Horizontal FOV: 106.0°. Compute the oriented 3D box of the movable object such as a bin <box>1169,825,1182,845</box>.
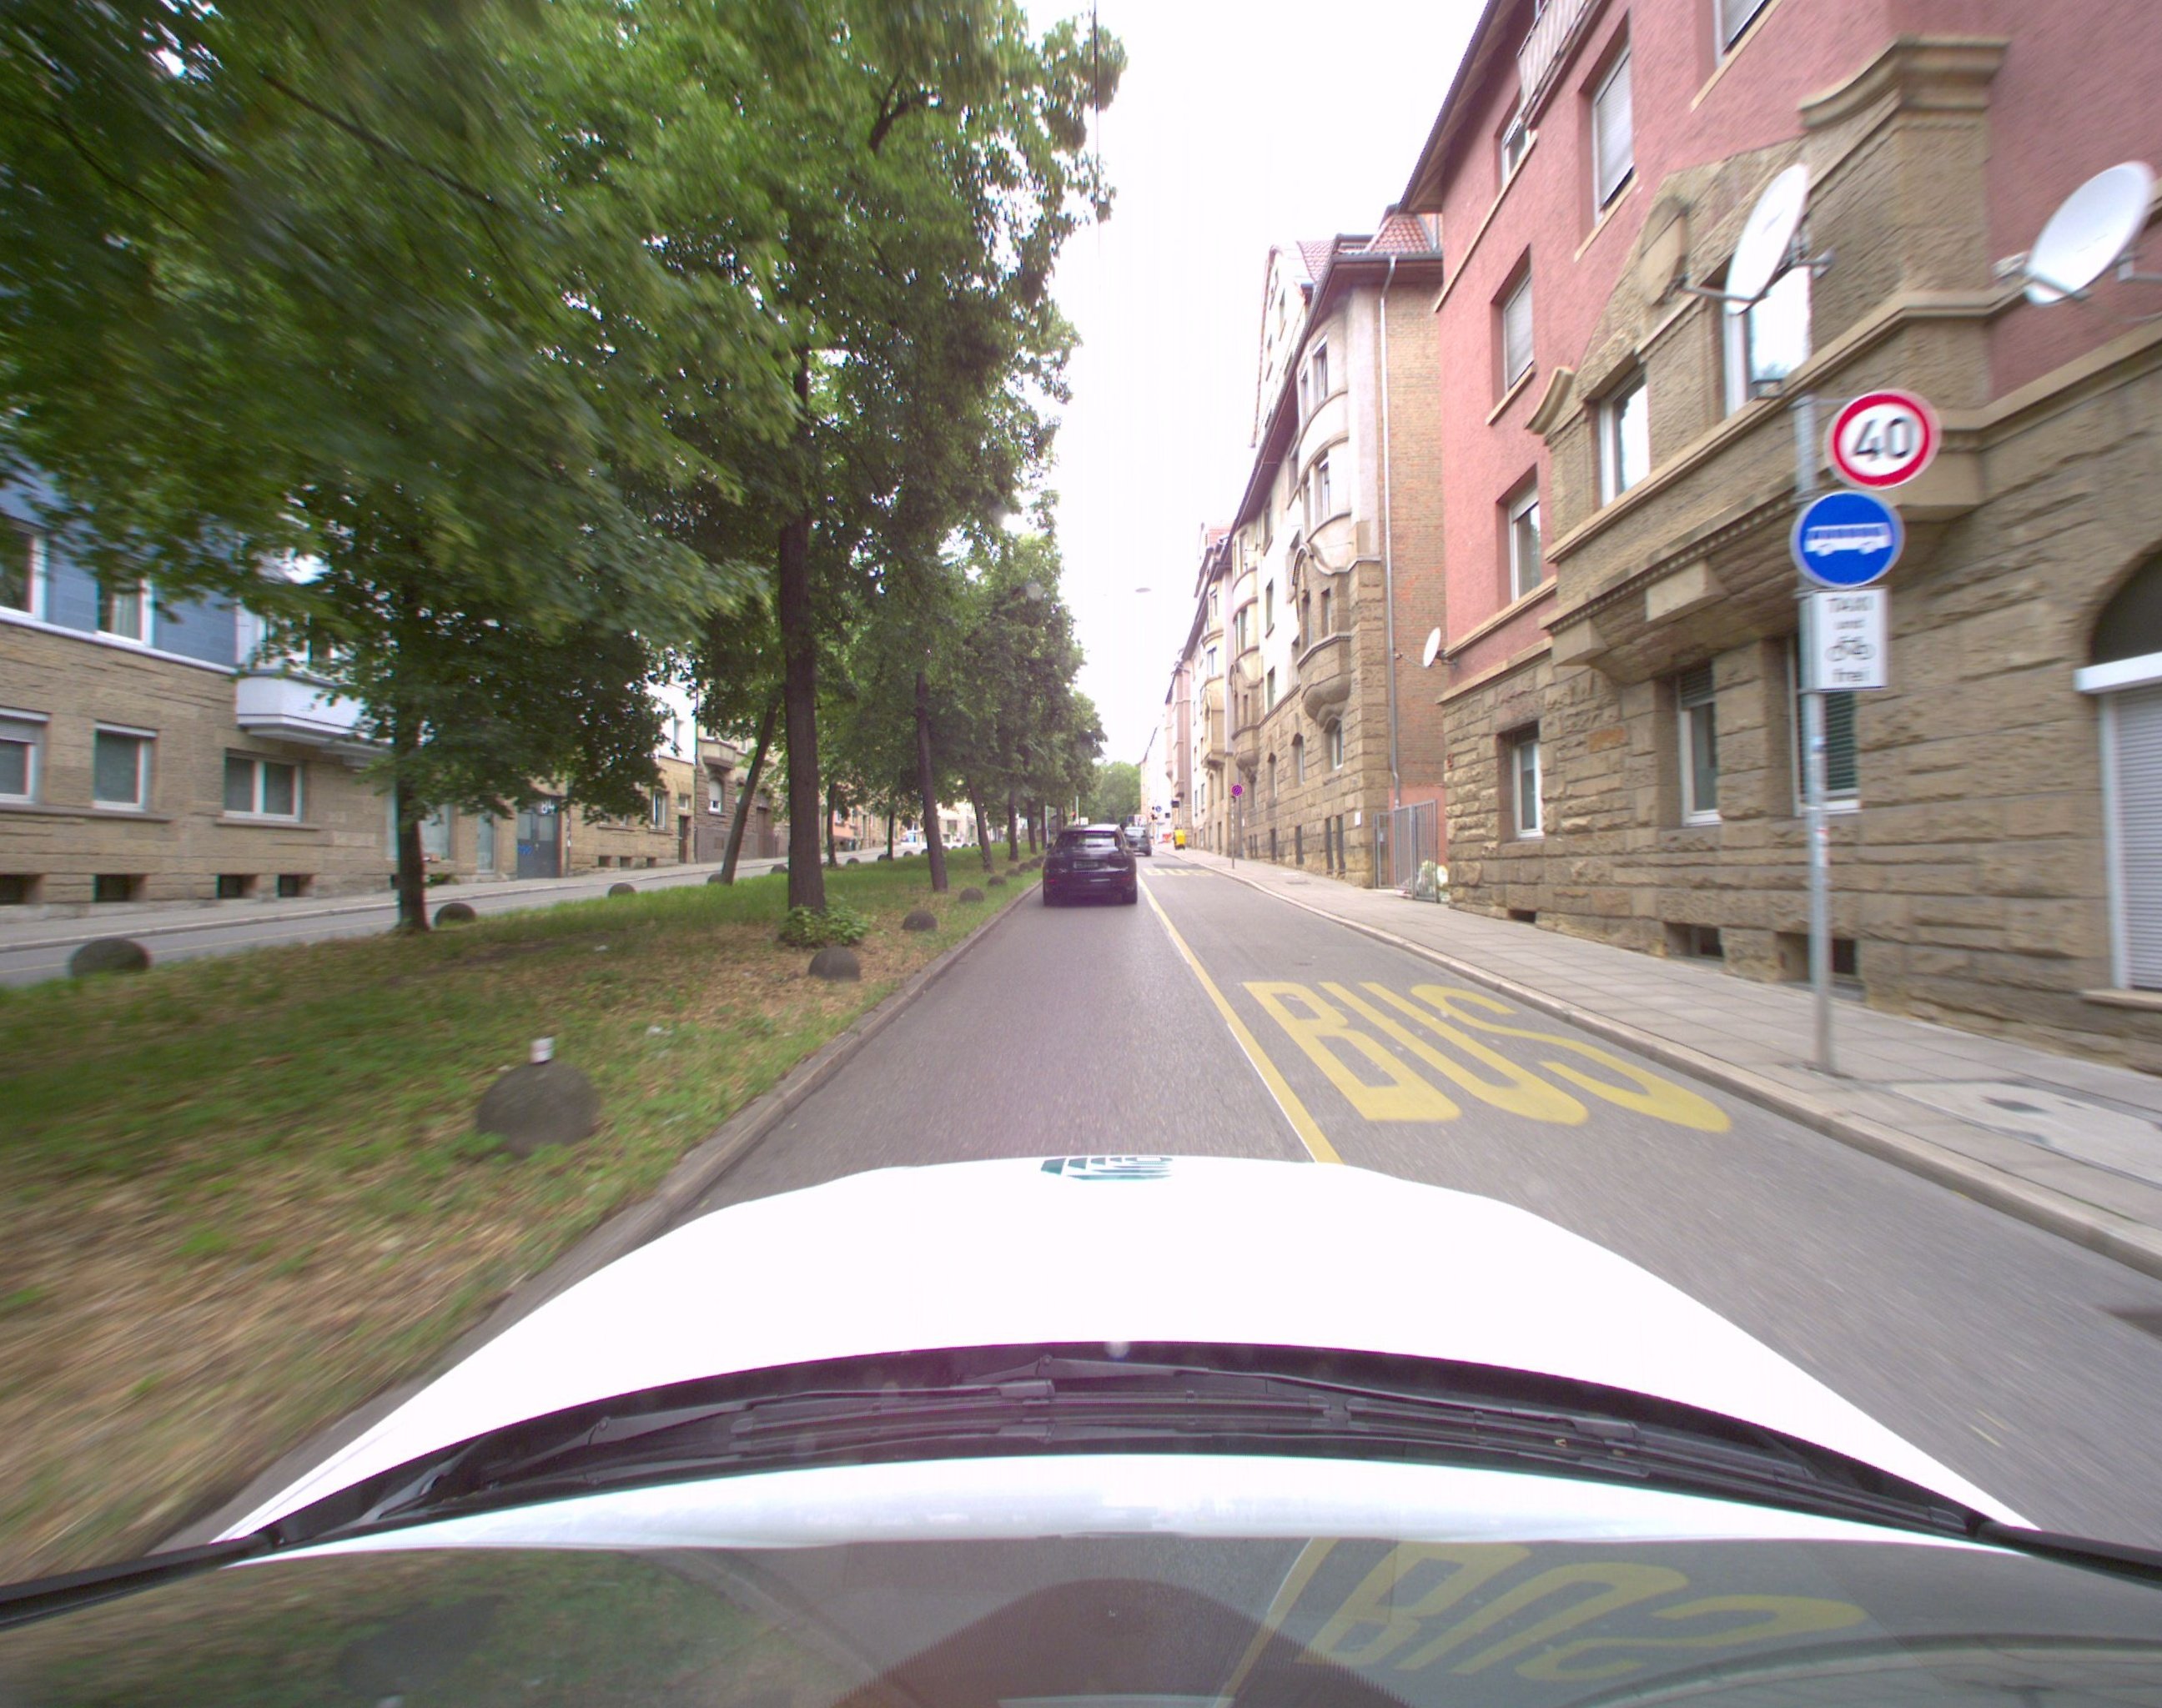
[{"bbox_3d":[6.930,-1.349,59.571,0.717,1.420,1.693,-2,1,-1],"label":"movable object such as a bin"}]

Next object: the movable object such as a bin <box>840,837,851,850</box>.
[{"bbox_3d":[-16.551,-0.713,57.278,0.607,0.904,0.601,0,1,-3],"label":"movable object such as a bin"}]

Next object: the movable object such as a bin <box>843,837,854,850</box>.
[{"bbox_3d":[-16.560,-0.731,58.031,0.607,0.904,0.601,0,1,-3],"label":"movable object such as a bin"}]

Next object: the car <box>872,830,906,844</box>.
[{"bbox_3d":[-23.545,-2.067,99.700,3.948,1.665,1.894,-1,0,34],"label":"car"}]

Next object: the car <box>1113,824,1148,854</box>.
[{"bbox_3d":[2.783,-0.913,46.615,1.747,1.592,3.631,0,3,0],"label":"car"}]

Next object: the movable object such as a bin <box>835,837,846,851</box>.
[{"bbox_3d":[-16.527,-0.680,55.959,0.607,0.904,0.601,0,1,-3],"label":"movable object such as a bin"}]

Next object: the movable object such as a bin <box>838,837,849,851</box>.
[{"bbox_3d":[-16.526,-0.698,56.593,0.607,0.904,0.601,0,1,-3],"label":"movable object such as a bin"}]

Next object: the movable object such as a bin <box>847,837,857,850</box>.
[{"bbox_3d":[-16.511,-0.753,58.756,0.607,0.904,0.601,0,1,-3],"label":"movable object such as a bin"}]

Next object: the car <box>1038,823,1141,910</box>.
[{"bbox_3d":[0.241,0.167,18.074,1.986,1.652,4.003,-2,2,2],"label":"car"}]
